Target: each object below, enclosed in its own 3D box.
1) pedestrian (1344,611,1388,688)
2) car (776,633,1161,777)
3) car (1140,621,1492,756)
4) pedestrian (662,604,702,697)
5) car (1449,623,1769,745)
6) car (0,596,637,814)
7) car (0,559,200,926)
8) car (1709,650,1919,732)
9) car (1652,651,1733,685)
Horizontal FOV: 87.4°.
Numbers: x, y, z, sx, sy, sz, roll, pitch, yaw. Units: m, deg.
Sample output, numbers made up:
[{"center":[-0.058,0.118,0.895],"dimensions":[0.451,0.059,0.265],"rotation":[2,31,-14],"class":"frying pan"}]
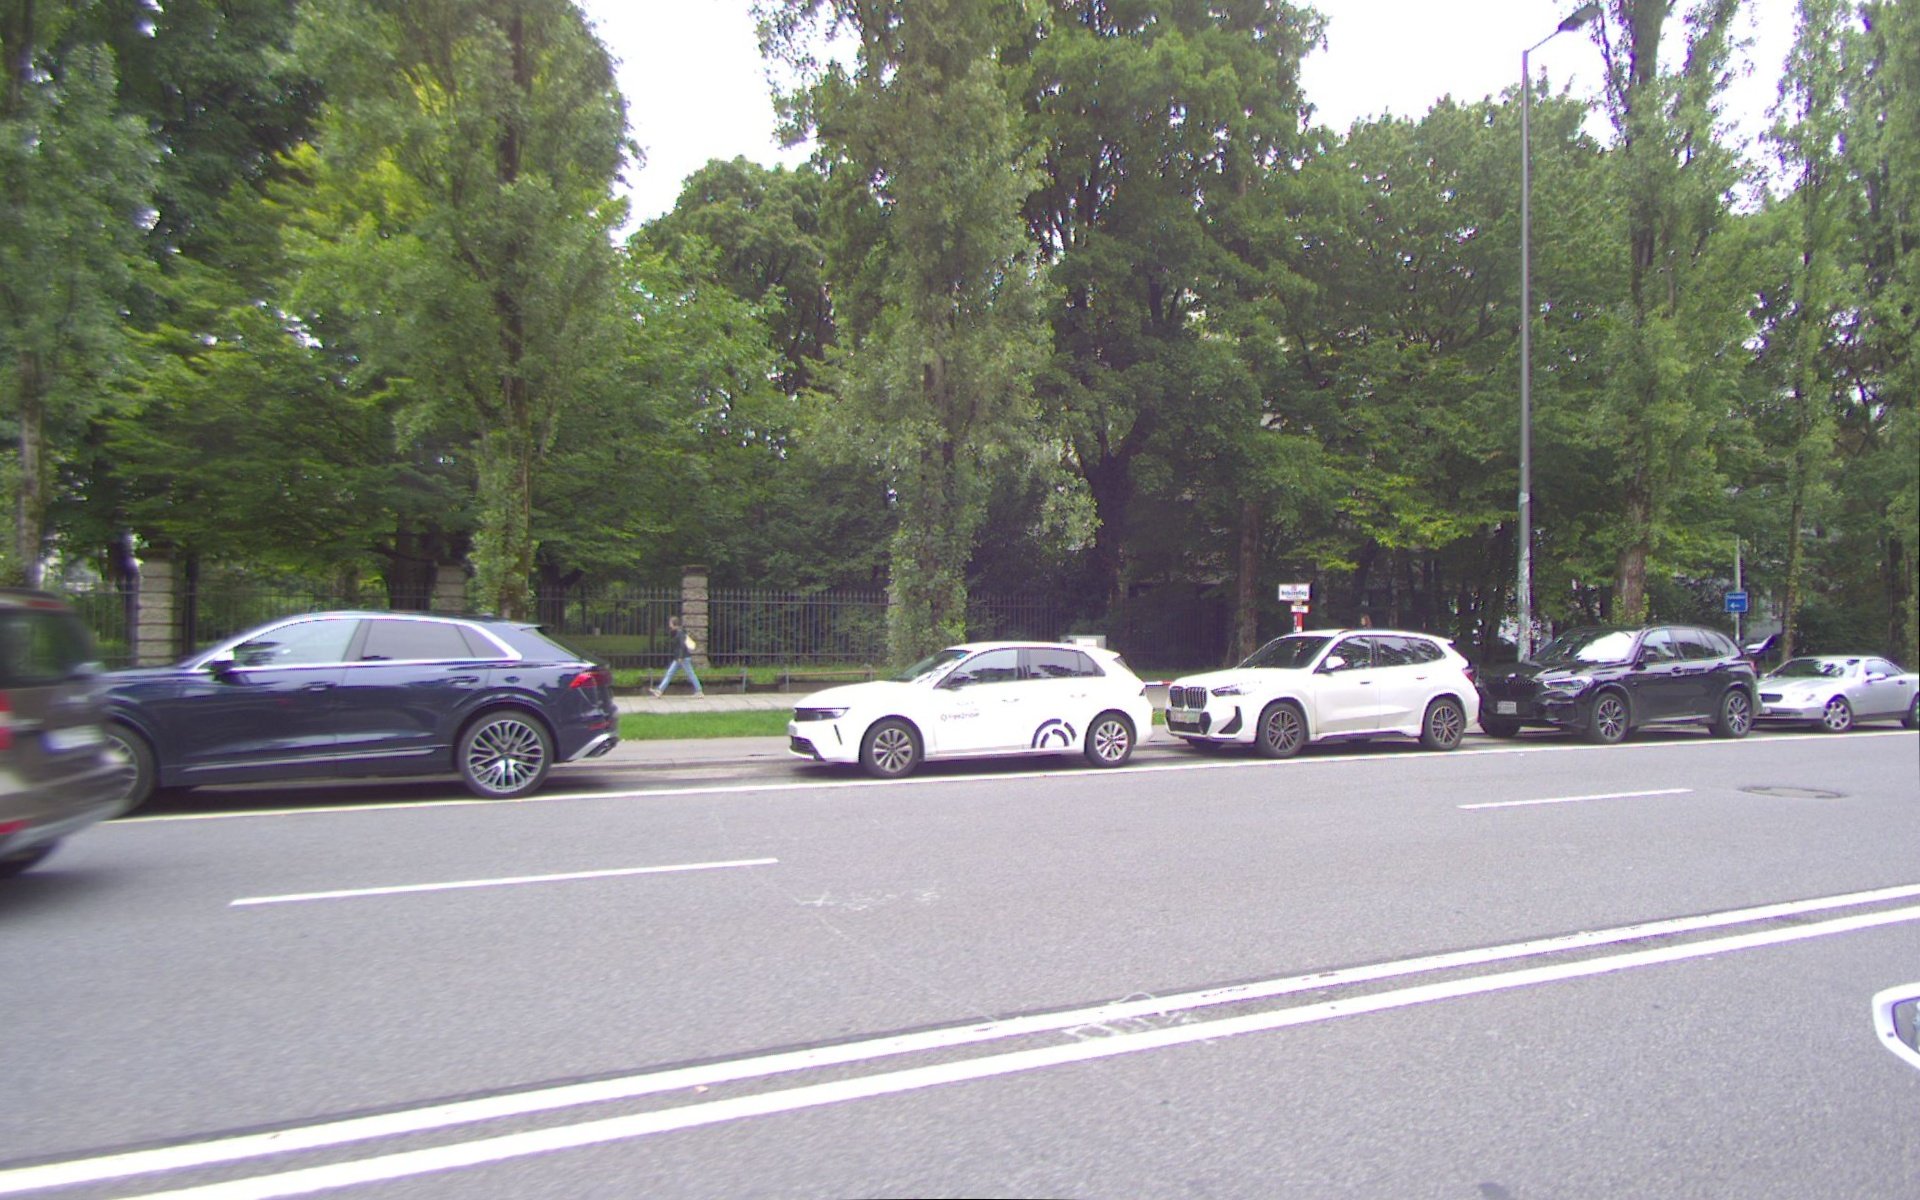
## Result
[{"center":[9.918,1.198,24.535],"dimensions":[0.764,1.839,0.639],"rotation":[1,-1,-21],"class":"pedestrian"},{"center":[0.100,1.142,11.686],"dimensions":[4.175,1.440,1.673],"rotation":[1,-3,-22],"class":"car"},{"center":[4.824,1.140,13.662],"dimensions":[4.394,1.609,1.783],"rotation":[1,-3,-21],"class":"car"},{"center":[-5.406,0.971,19.539],"dimensions":[0.663,1.771,0.548],"rotation":[1,0,-22],"class":"pedestrian"},{"center":[10.110,1.245,15.648],"dimensions":[4.650,1.680,1.877],"rotation":[1,-4,-23],"class":"car"},{"center":[-5.608,0.881,9.129],"dimensions":[4.979,1.629,1.812],"rotation":[1,-4,-22],"class":"car"},{"center":[-6.388,0.653,4.756],"dimensions":[4.053,1.678,1.782],"rotation":[1,-3,-22],"class":"car"},{"center":[15.409,1.547,17.762],"dimensions":[3.968,1.321,1.578],"rotation":[1,-3,-21],"class":"car"},{"center":[39.524,3.660,54.213],"dimensions":[4.215,1.706,1.985],"rotation":[1,-2,-29],"class":"car"}]
